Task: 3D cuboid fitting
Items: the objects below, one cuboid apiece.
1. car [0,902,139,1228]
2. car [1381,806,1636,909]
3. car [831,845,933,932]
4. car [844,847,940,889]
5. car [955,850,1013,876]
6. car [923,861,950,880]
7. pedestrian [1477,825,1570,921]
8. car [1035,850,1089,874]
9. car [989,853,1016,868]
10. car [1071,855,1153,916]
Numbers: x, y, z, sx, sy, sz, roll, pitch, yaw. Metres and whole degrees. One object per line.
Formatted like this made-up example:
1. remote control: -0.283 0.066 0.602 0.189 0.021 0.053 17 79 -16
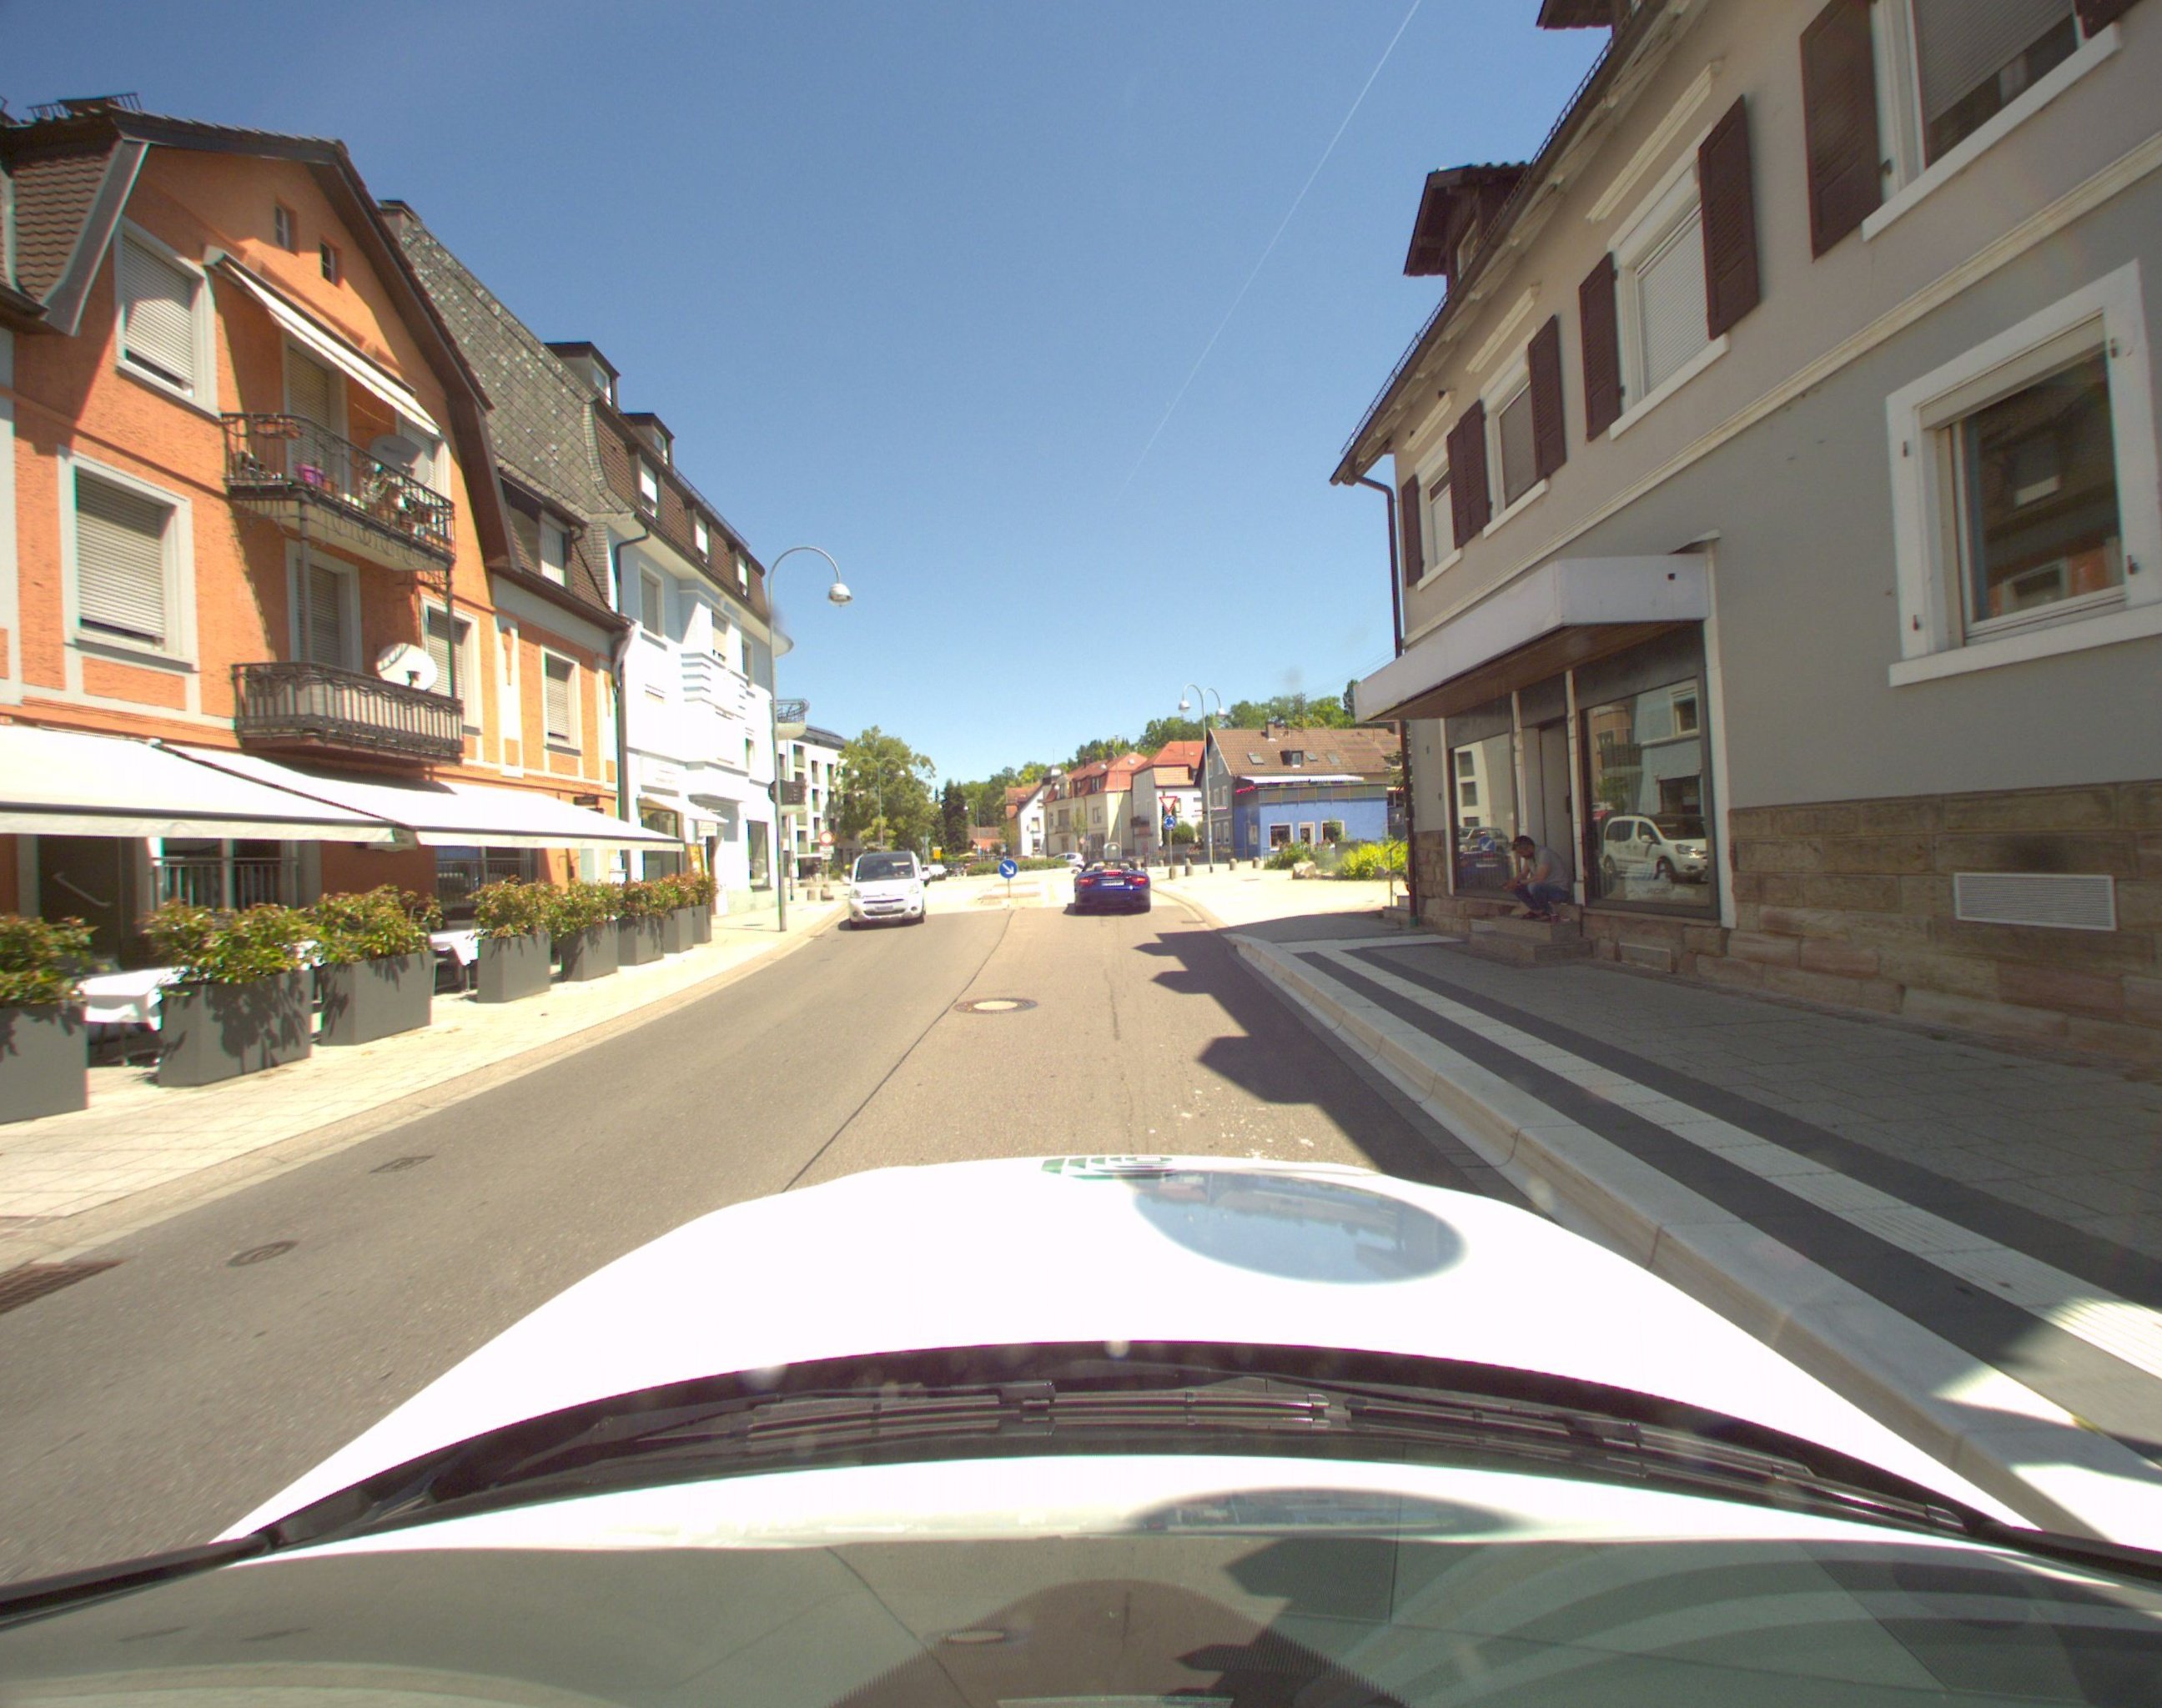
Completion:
1. car: -5.982 1.007 2.159 1.909 1.481 4.336 0 0 0
2. car: 8.389 0.062 16.243 4.047 1.595 1.802 -5 0 0
3. car: -4.880 0.789 20.578 1.993 1.822 4.402 -4 0 -9
4. car: -9.400 0.668 40.628 4.191 1.875 1.768 -2 1 10
5. car: -5.707 0.541 47.445 2.005 1.329 4.163 -4 0 -27
6. car: -12.380 1.420 69.942 1.992 1.509 3.990 -4 -1 -7
7. pedestrian: 4.944 0.202 9.135 0.588 0.999 0.723 -4 0 -1
8. car: -1.347 0.557 57.189 3.437 1.450 1.585 -4 0 10
9. car: -9.996 0.848 103.384 1.862 1.588 3.961 -4 0 -30
10. car: 0.813 0.748 21.448 1.903 1.360 4.287 -2 0 2
